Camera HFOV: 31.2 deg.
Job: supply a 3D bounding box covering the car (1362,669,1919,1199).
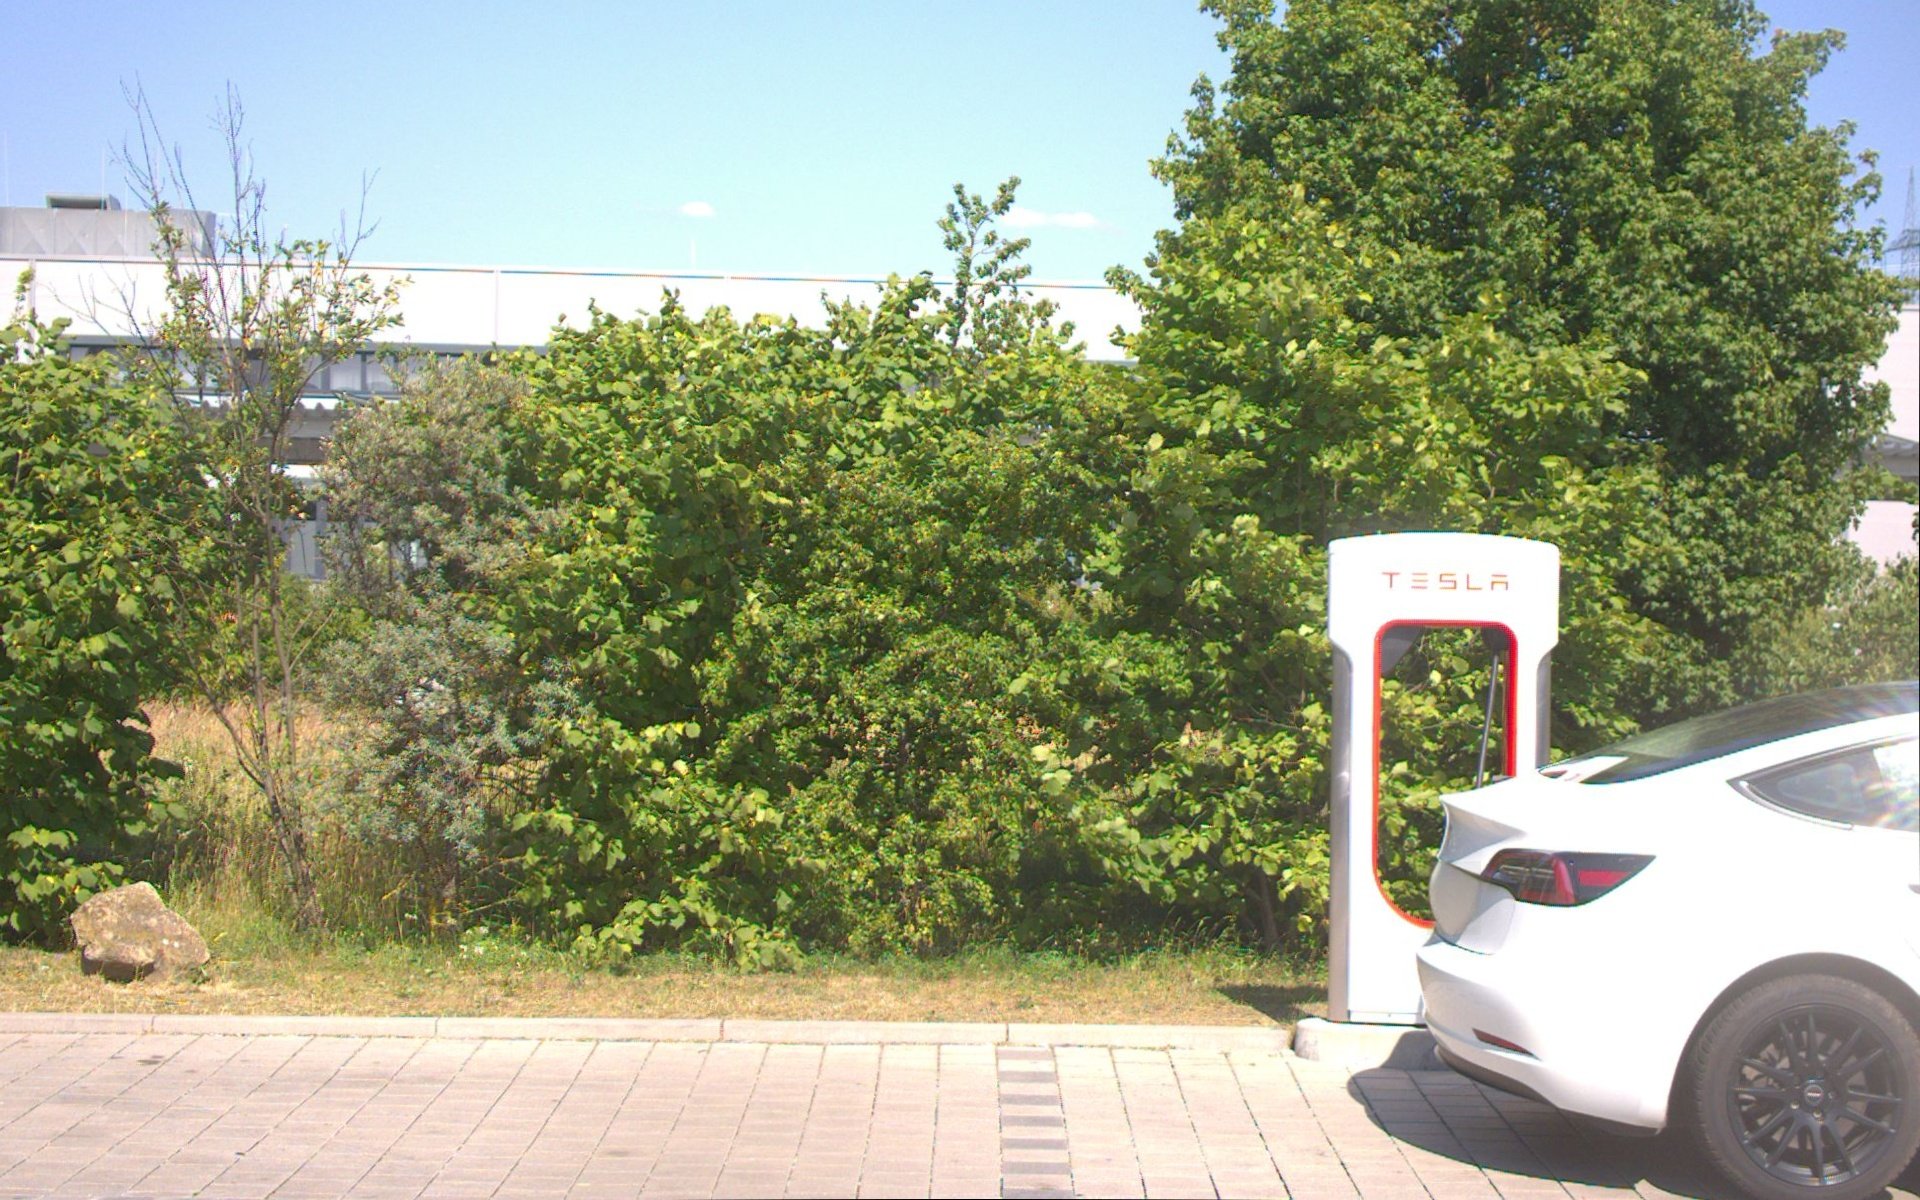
[{"bbox_3d":[3.536,0.942,10.177,4.434,1.373,1.822,1,0,-1],"label":"car"}]
